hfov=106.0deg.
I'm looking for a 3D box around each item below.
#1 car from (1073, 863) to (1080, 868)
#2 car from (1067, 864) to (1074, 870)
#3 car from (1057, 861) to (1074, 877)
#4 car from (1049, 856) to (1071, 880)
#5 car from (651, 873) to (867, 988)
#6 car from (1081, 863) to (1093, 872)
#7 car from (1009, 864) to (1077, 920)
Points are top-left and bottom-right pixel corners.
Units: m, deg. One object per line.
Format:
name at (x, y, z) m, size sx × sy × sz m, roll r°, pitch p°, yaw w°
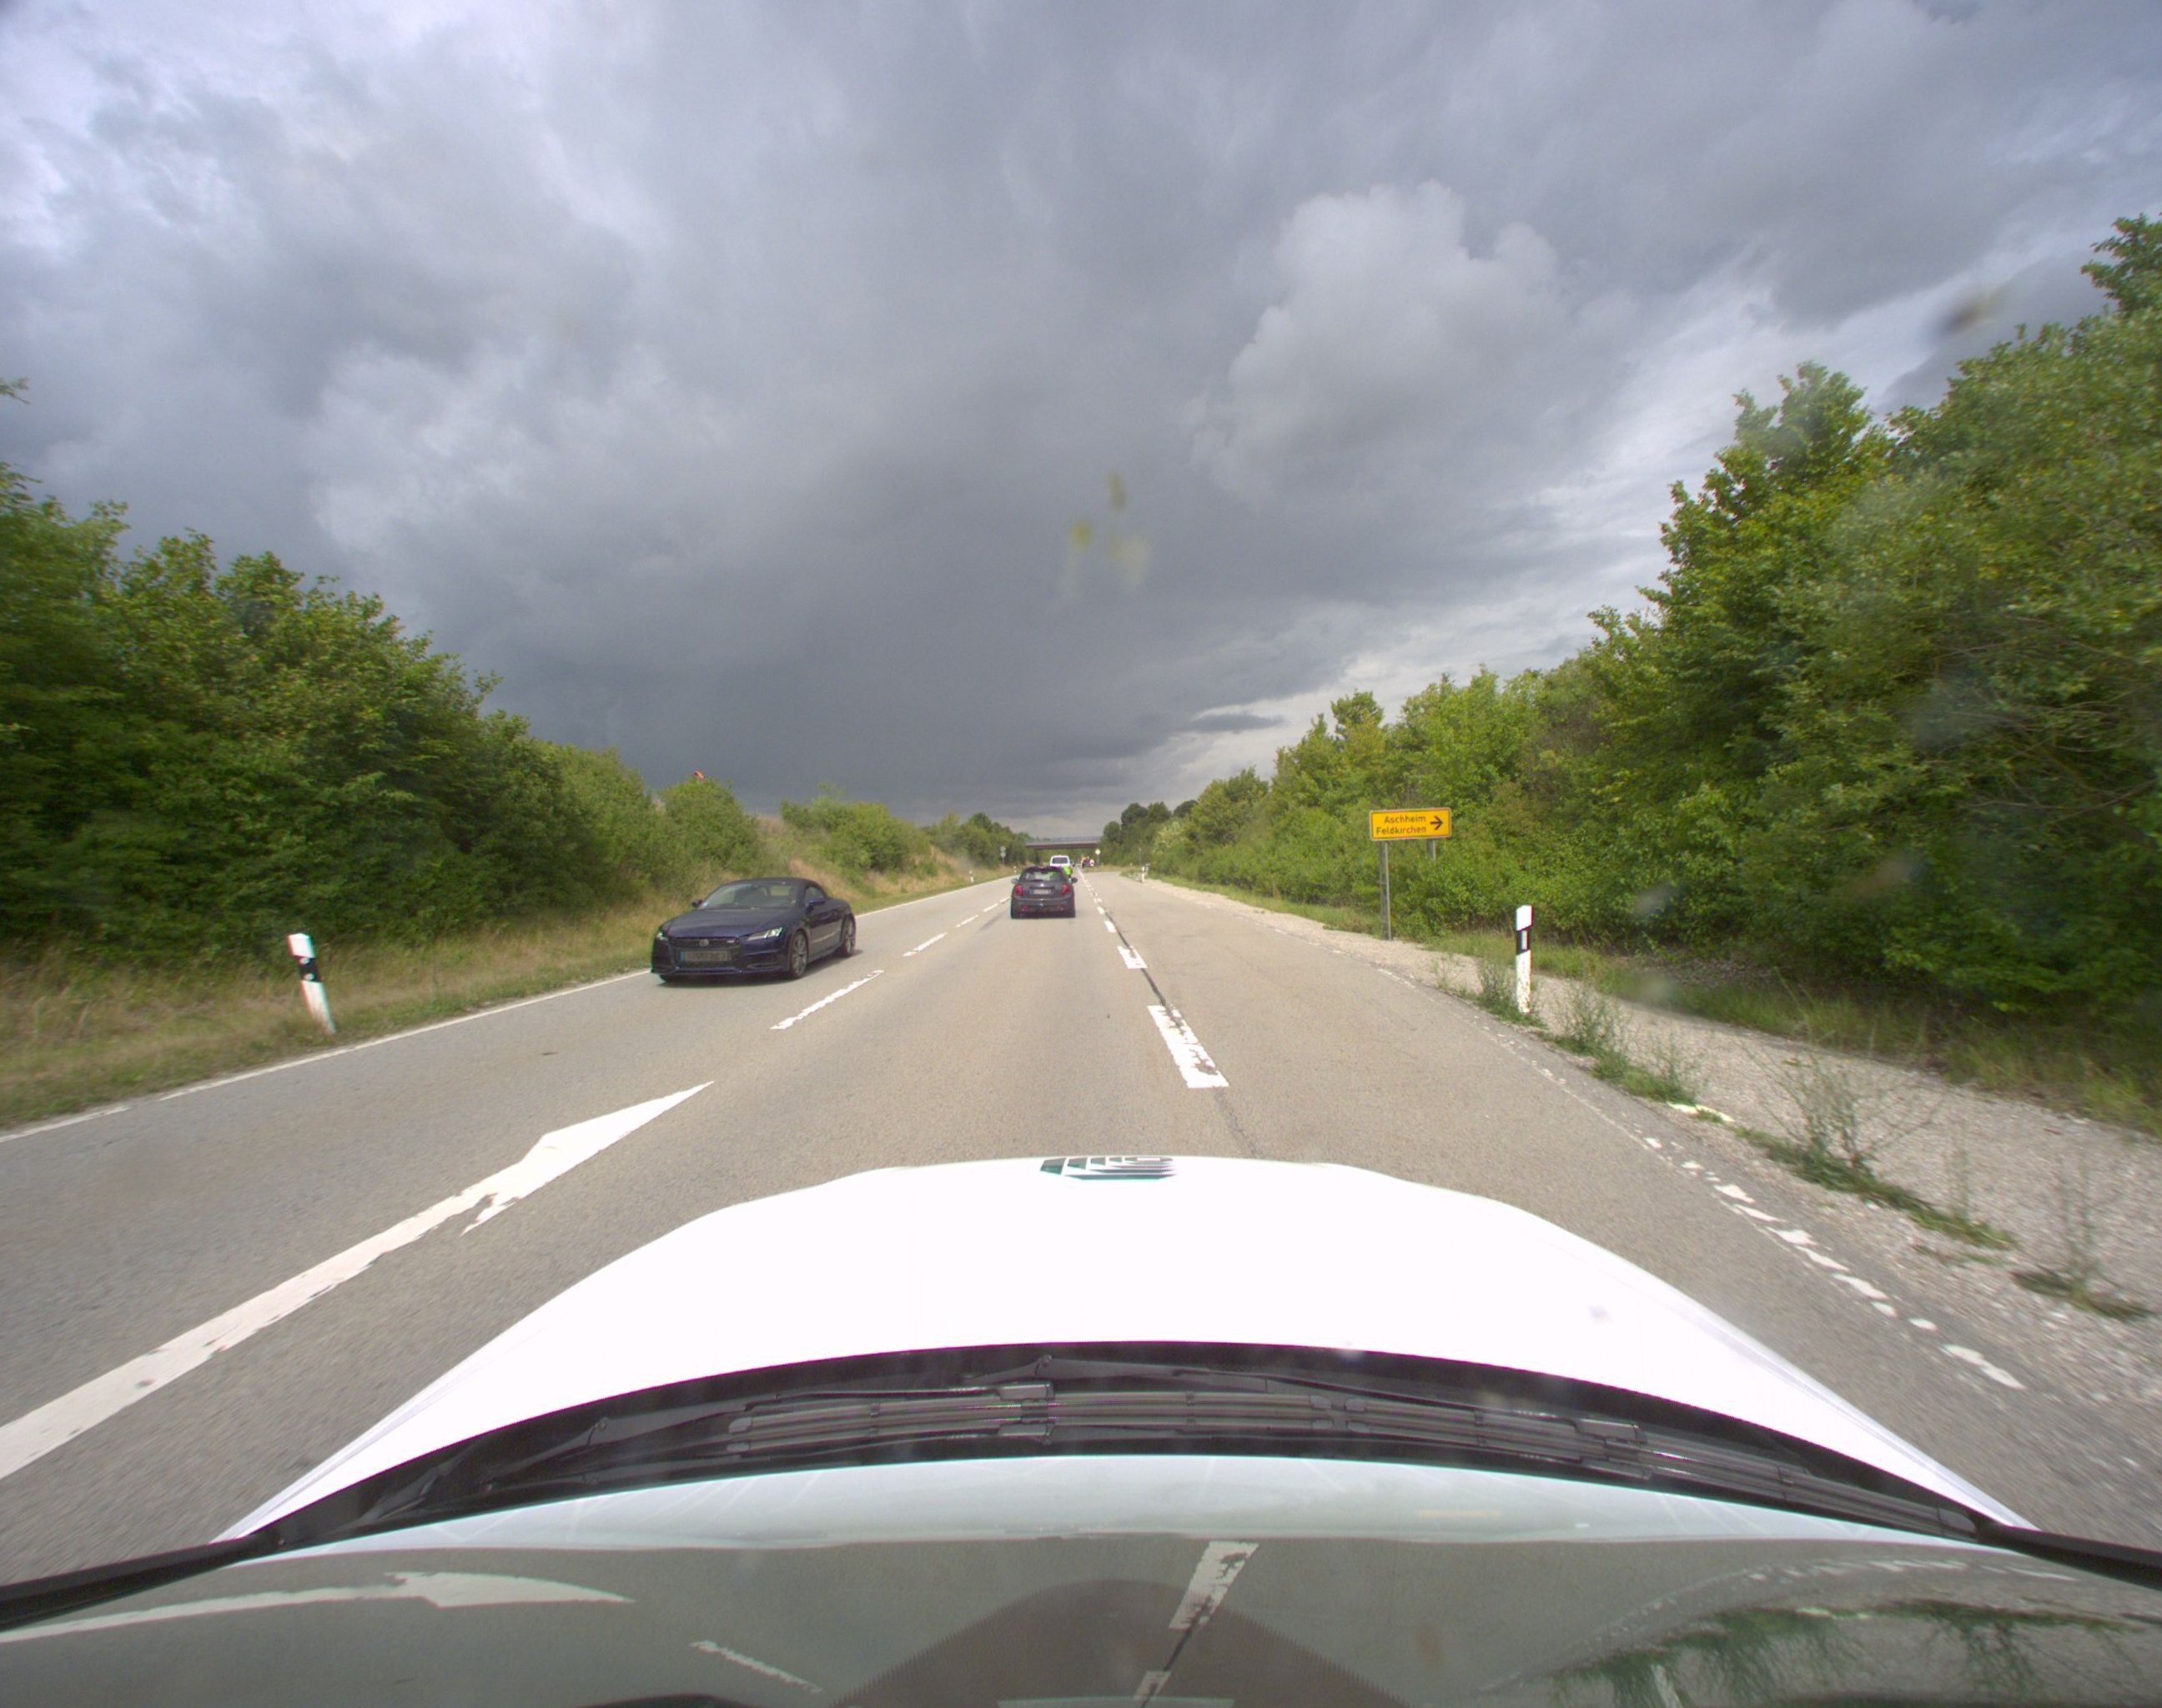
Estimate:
car at (-1.271, 3.056, 222.991) m, size 1.660 × 1.403 × 4.002 m, roll -1°, pitch 0°, yaw 2°
car at (-2.612, 3.135, 202.806) m, size 1.662 × 1.403 × 3.999 m, roll -1°, pitch 0°, yaw 0°
car at (-1.849, 1.758, 96.639) m, size 1.812 × 1.750 × 4.000 m, roll -1°, pitch -1°, yaw 1°
car at (-1.840, 1.223, 71.924) m, size 1.814 × 2.055 × 3.998 m, roll -1°, pitch -1°, yaw -1°
car at (-4.597, 1.008, 12.304) m, size 1.696 × 1.330 × 3.998 m, roll -2°, pitch -1°, yaw -1°
car at (1.056, 2.521, 149.401) m, size 1.989 × 1.552 × 3.996 m, roll 0°, pitch -1°, yaw -3°
car at (-1.013, 1.018, 23.291) m, size 1.751 × 1.427 × 3.998 m, roll -1°, pitch -1°, yaw -1°
